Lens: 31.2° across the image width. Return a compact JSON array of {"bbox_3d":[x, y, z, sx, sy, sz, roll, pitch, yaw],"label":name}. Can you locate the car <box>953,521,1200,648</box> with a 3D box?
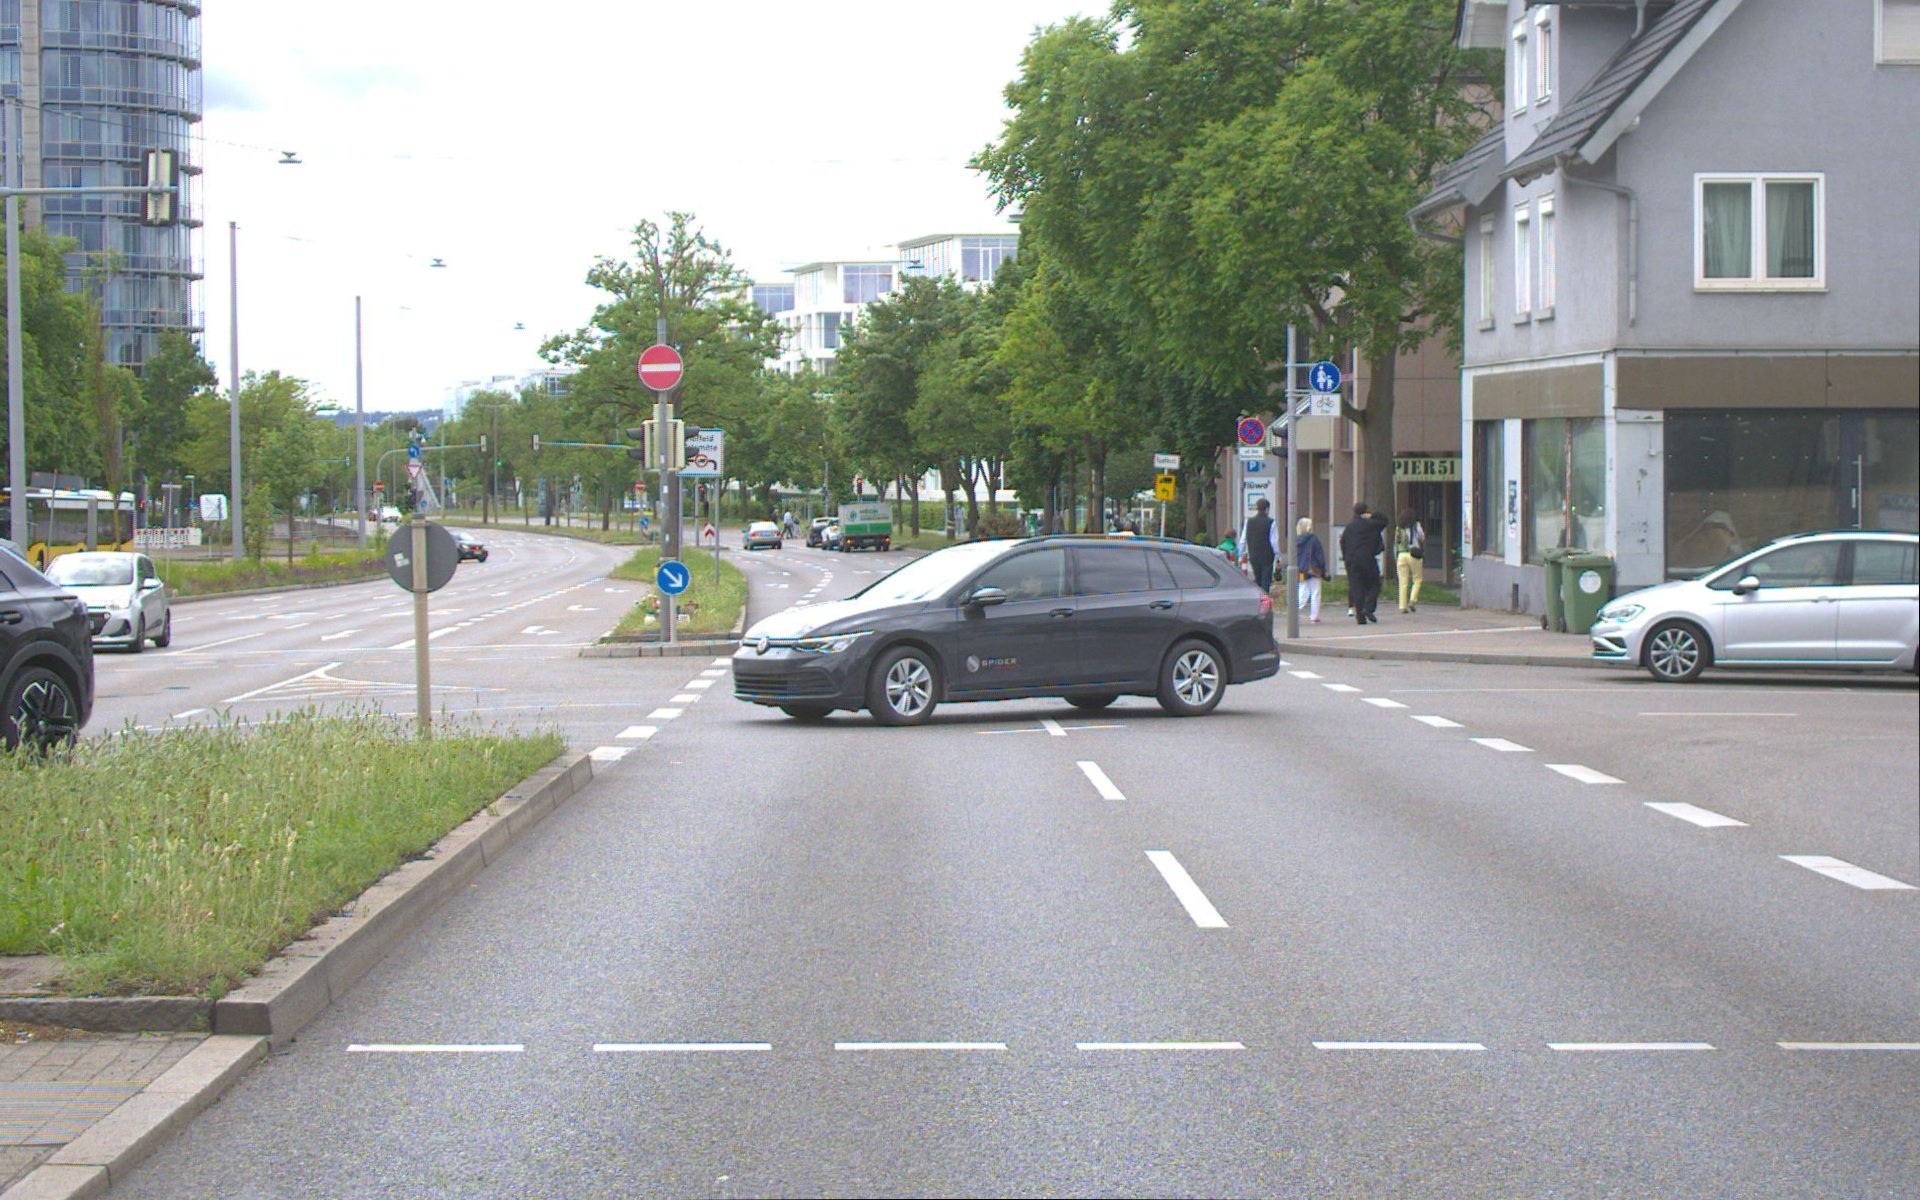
[{"bbox_3d":[1.399,-0.215,43.075,1.888,1.489,4.100,-1,1,-16],"label":"car"}]

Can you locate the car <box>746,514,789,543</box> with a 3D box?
[{"bbox_3d":[-9.694,-3.587,173.148,1.967,1.415,4.023,-1,1,-5],"label":"car"}]

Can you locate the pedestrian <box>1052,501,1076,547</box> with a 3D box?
[{"bbox_3d":[4.571,-3.326,150.921,0.971,2.007,0.981,1,0,-1],"label":"pedestrian"}]

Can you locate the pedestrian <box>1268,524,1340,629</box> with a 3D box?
[{"bbox_3d":[4.967,-0.347,49.664,0.867,1.502,0.708,-1,1,-9],"label":"pedestrian"}]

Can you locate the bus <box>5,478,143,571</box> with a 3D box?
[{"bbox_3d":[-31.736,-2.704,123.465,3.144,3.214,7.766,-1,1,-2],"label":"bus"}]

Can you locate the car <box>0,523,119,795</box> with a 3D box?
[{"bbox_3d":[-6.593,0.351,18.674,1.837,1.516,4.067,0,2,23],"label":"car"}]

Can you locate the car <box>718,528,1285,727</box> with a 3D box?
[{"bbox_3d":[0.356,0.181,27.733,4.274,1.476,1.715,0,2,-29],"label":"car"}]

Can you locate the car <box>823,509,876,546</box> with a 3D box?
[{"bbox_3d":[-5.312,-3.468,165.063,2.251,1.751,4.934,-1,1,-5],"label":"car"}]

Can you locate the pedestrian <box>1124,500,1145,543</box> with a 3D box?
[{"bbox_3d":[6.383,-2.857,125.831,0.650,1.564,0.671,-1,1,-8],"label":"pedestrian"}]

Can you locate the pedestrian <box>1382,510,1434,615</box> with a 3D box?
[{"bbox_3d":[7.187,-0.606,55.097,0.706,1.656,0.869,0,1,15],"label":"pedestrian"}]

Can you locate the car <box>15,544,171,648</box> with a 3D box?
[{"bbox_3d":[-12.804,-0.090,50.921,1.684,1.457,3.556,-1,1,-5],"label":"car"}]

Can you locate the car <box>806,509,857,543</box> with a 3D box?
[{"bbox_3d":[-6.508,-3.732,173.856,2.250,1.641,4.934,-1,1,-5],"label":"car"}]

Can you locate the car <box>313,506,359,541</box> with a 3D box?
[{"bbox_3d":[-36.337,-4.453,200.257,1.965,2.007,4.000,1,1,-1],"label":"car"}]

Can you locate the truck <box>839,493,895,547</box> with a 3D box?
[{"bbox_3d":[-4.267,-3.637,156.465,2.251,2.408,4.934,0,1,-5],"label":"truck"}]

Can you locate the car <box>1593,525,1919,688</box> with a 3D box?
[{"bbox_3d":[8.567,0.058,35.069,4.102,1.535,1.828,2,1,10],"label":"car"}]

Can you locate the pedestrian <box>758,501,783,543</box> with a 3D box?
[{"bbox_3d":[-10.947,-4.514,198.698,1.232,2.393,1.310,-1,1,-10],"label":"pedestrian"}]

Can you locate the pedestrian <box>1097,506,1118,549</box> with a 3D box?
[{"bbox_3d":[5.394,-2.645,125.651,0.650,1.564,0.671,-1,1,-8],"label":"pedestrian"}]

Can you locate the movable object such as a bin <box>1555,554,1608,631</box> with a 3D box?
[{"bbox_3d":[7.961,-0.103,44.046,0.529,0.976,0.736,-1,1,-1],"label":"movable object such as a bin"}]

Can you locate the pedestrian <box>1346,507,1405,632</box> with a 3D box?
[{"bbox_3d":[5.903,-0.437,48.846,0.705,1.754,1.052,-1,1,1],"label":"pedestrian"}]

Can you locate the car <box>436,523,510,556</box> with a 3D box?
[{"bbox_3d":[-23.100,-2.870,163.146,1.703,1.487,3.560,-2,1,-44],"label":"car"}]

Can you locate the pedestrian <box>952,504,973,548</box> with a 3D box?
[{"bbox_3d":[0.121,-3.861,179.380,0.930,2.300,1.011,1,0,-10],"label":"pedestrian"}]

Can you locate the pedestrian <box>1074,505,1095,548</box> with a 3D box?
[{"bbox_3d":[4.551,-2.691,125.791,0.650,1.564,0.671,-1,1,-8],"label":"pedestrian"}]

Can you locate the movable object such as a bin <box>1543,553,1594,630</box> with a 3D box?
[{"bbox_3d":[7.933,-0.116,44.836,0.529,0.976,0.736,-1,1,-1],"label":"movable object such as a bin"}]

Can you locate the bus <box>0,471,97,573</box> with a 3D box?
[{"bbox_3d":[-31.397,-2.564,114.461,3.144,3.214,10.286,-1,1,-3],"label":"bus"}]

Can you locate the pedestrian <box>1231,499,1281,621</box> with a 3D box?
[{"bbox_3d":[4.347,-0.594,50.504,0.705,1.773,0.870,-1,1,5],"label":"pedestrian"}]

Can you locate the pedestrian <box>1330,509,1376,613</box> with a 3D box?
[{"bbox_3d":[6.337,-0.631,55.416,0.705,1.656,0.870,-1,1,6],"label":"pedestrian"}]
